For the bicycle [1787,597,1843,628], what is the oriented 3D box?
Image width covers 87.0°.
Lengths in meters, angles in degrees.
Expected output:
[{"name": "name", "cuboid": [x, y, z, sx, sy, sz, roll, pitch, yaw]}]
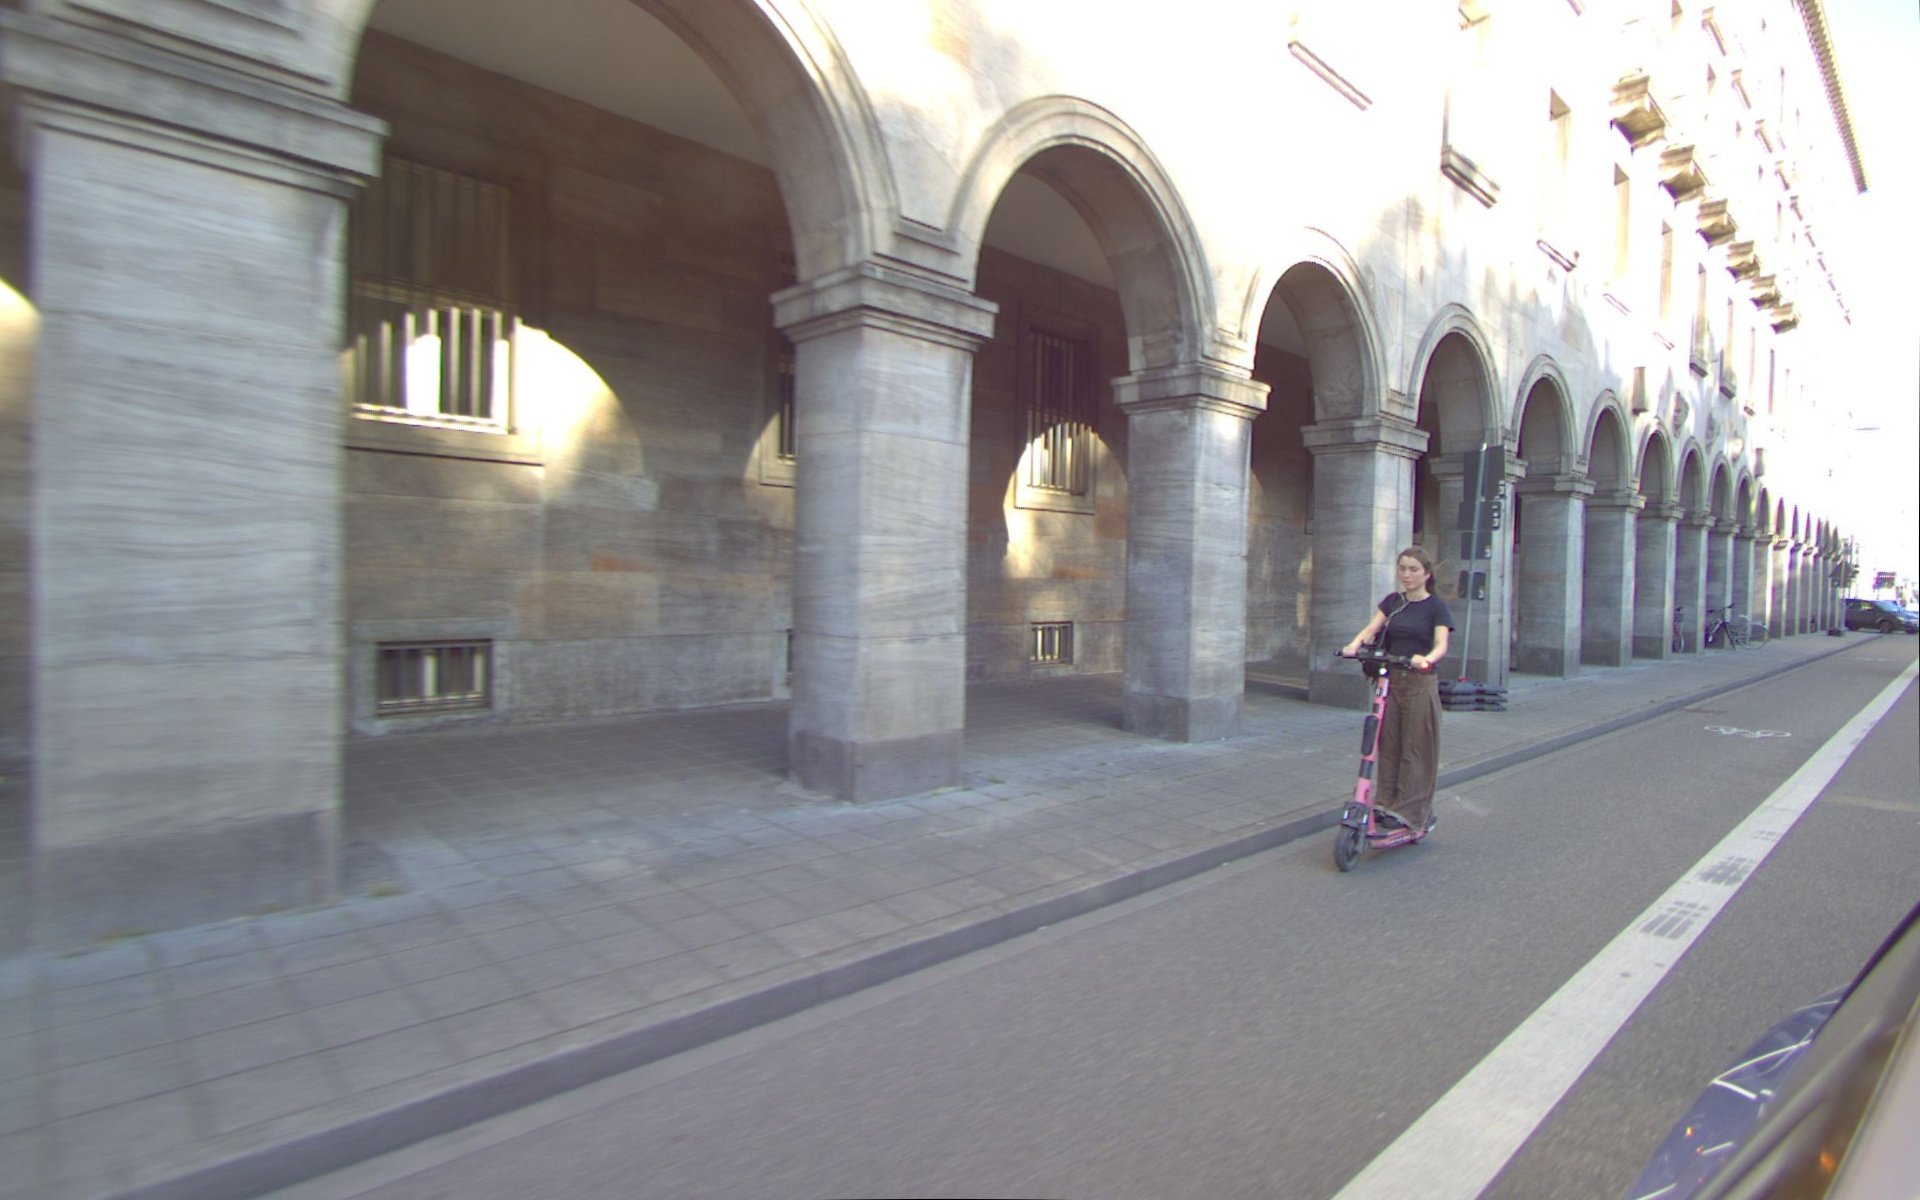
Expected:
[{"name": "bicycle", "cuboid": [34.481, 0.494, 40.857, 0.651, 1.147, 1.715, 2, 3, -4]}]

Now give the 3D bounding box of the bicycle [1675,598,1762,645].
[{"name": "bicycle", "cuboid": [19.355, 0.545, 25.829, 1.681, 1.063, 0.612, 3, 2, 0]}]

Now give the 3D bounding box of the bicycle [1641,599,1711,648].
[{"name": "bicycle", "cuboid": [16.400, 0.533, 23.175, 1.678, 1.063, 0.473, 1, 2, -25]}]

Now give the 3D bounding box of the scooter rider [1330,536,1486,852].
[{"name": "scooter rider", "cuboid": [2.524, 0.481, 5.706, 0.639, 1.652, 0.562, 0, 2, -44]}]

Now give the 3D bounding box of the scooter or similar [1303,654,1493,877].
[{"name": "scooter or similar", "cuboid": [2.470, 0.864, 5.674, 1.098, 1.044, 0.556, 0, 2, -43]}]

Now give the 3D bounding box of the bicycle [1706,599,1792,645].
[{"name": "bicycle", "cuboid": [20.958, 0.575, 26.920, 1.701, 1.063, 0.522, 4, 3, 33]}]

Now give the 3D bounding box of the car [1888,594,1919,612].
[{"name": "car", "cuboid": [91.216, 0.257, 97.714, 4.473, 1.593, 1.996, 0, 2, -44]}]

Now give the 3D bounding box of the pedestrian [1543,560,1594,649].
[{"name": "pedestrian", "cuboid": [13.023, 0.086, 21.648, 0.949, 1.855, 0.629, 1, 2, -44]}]
